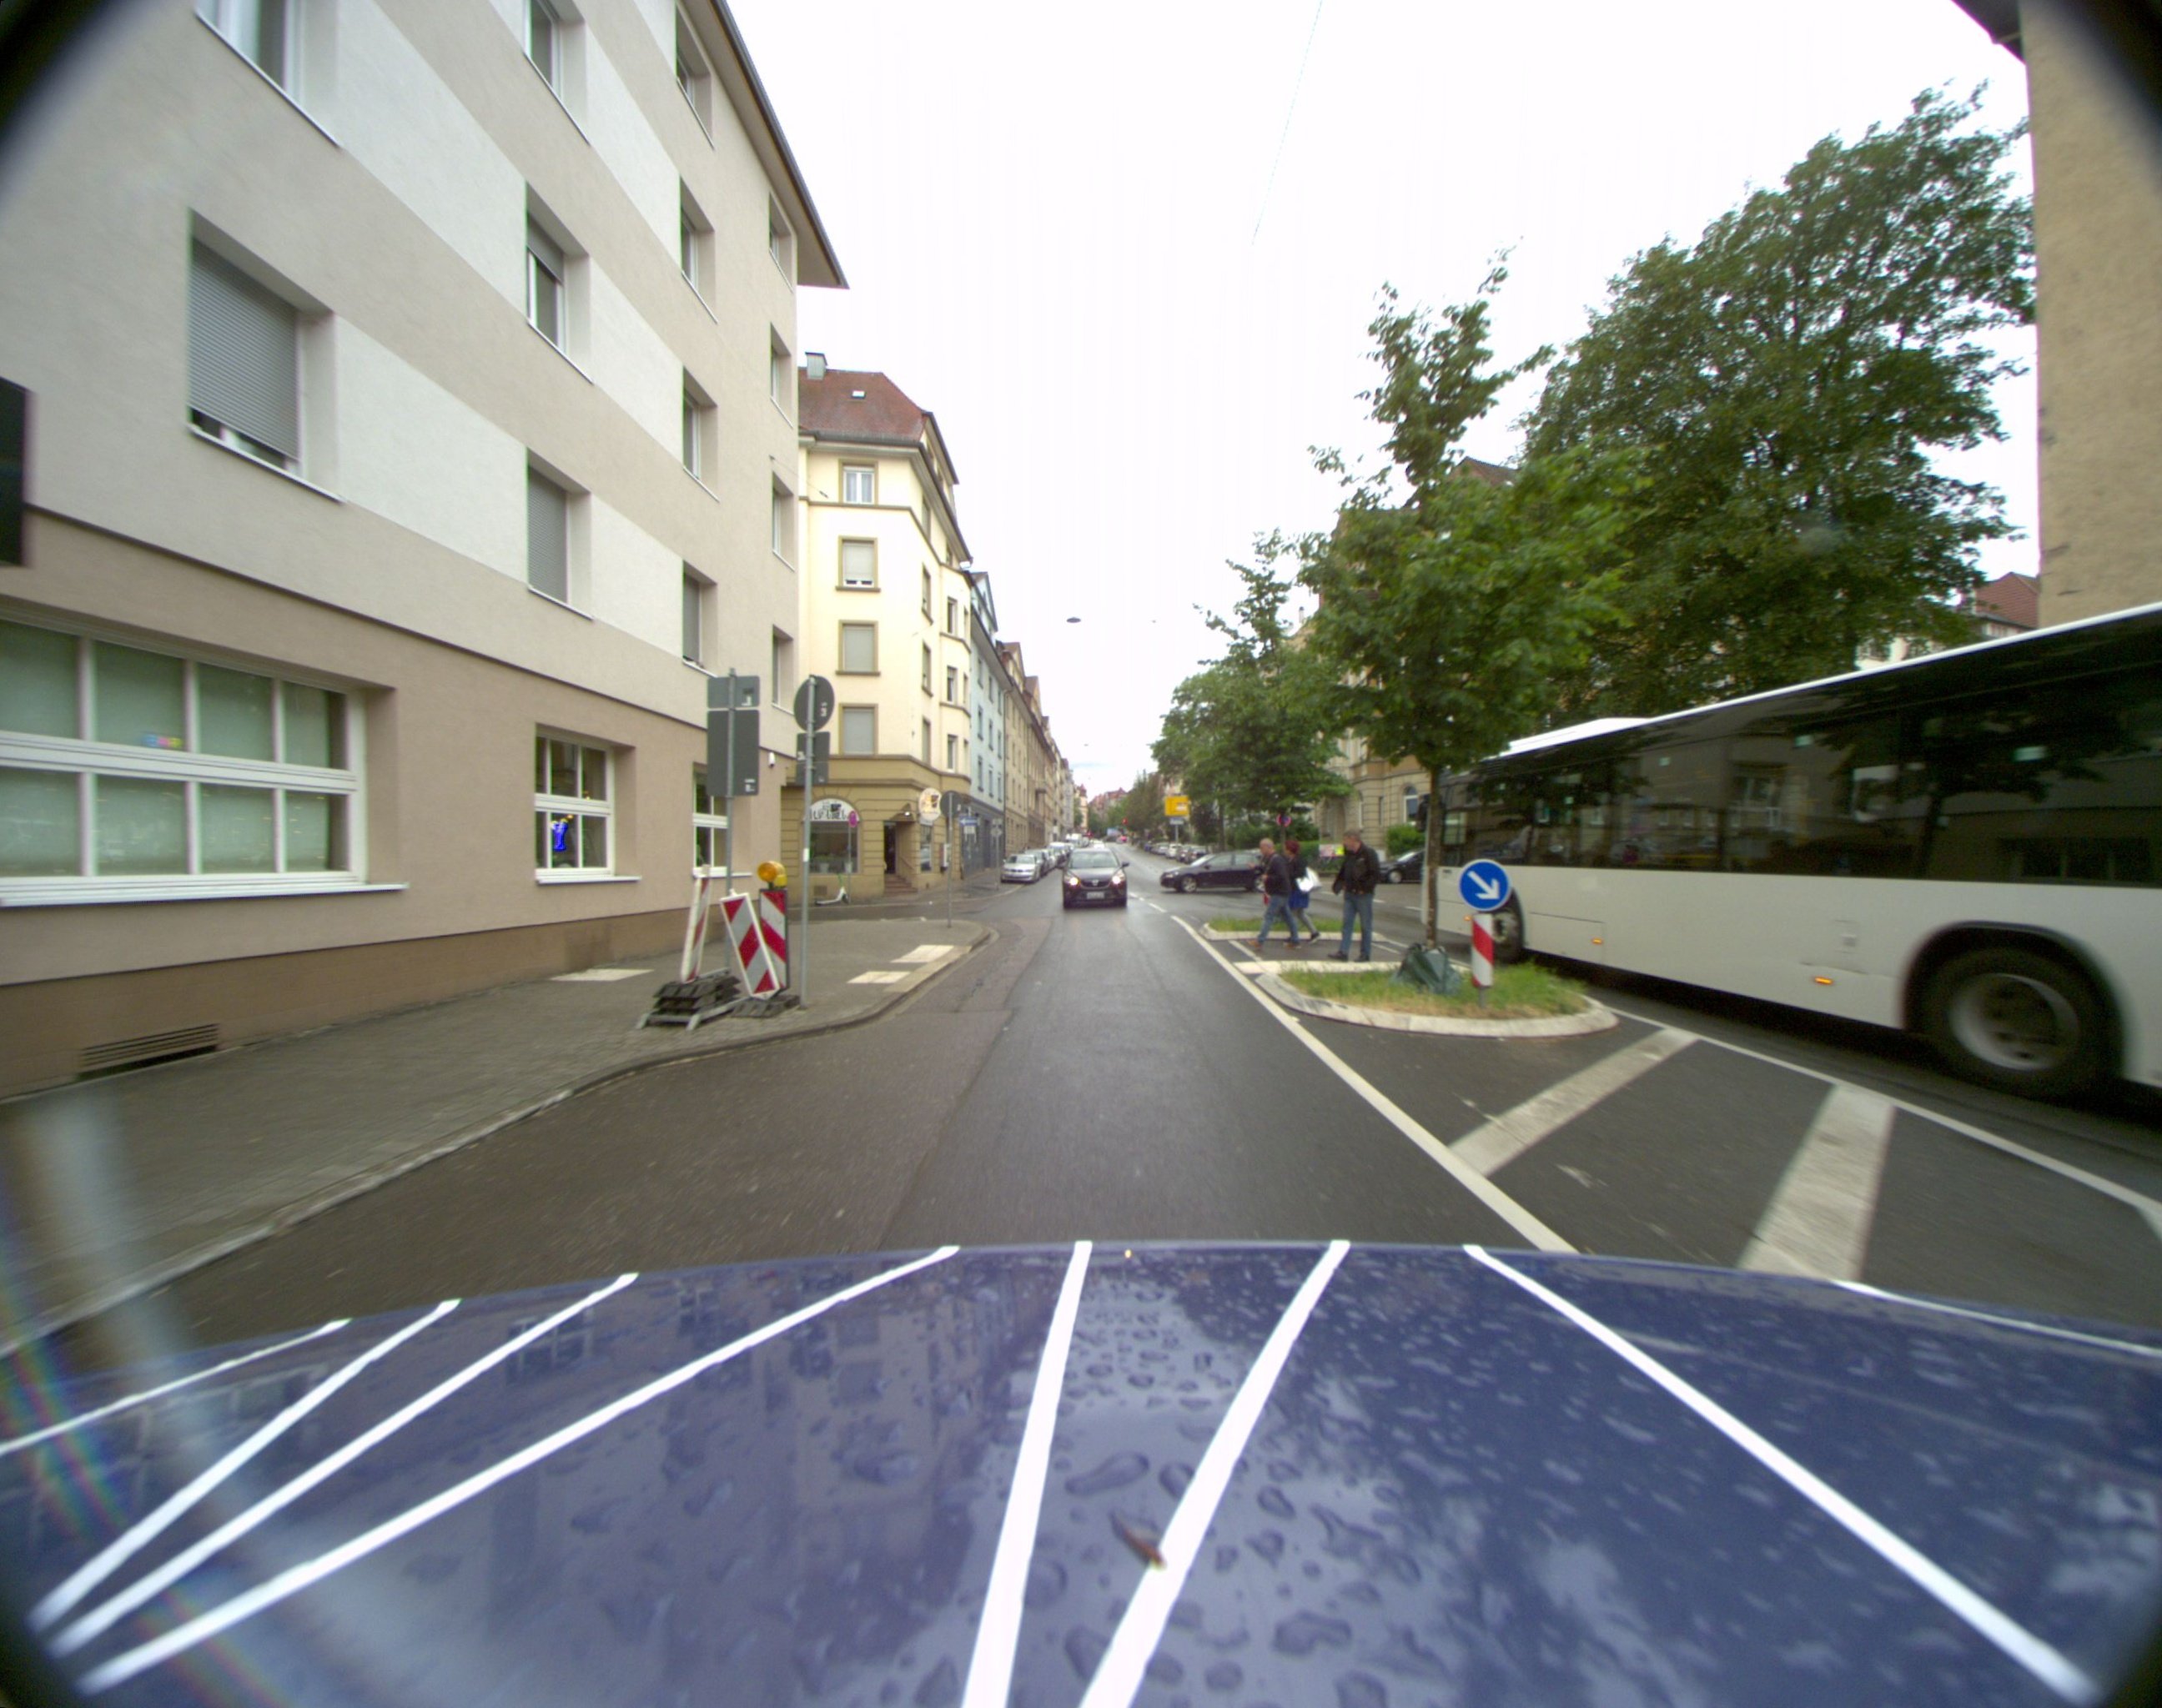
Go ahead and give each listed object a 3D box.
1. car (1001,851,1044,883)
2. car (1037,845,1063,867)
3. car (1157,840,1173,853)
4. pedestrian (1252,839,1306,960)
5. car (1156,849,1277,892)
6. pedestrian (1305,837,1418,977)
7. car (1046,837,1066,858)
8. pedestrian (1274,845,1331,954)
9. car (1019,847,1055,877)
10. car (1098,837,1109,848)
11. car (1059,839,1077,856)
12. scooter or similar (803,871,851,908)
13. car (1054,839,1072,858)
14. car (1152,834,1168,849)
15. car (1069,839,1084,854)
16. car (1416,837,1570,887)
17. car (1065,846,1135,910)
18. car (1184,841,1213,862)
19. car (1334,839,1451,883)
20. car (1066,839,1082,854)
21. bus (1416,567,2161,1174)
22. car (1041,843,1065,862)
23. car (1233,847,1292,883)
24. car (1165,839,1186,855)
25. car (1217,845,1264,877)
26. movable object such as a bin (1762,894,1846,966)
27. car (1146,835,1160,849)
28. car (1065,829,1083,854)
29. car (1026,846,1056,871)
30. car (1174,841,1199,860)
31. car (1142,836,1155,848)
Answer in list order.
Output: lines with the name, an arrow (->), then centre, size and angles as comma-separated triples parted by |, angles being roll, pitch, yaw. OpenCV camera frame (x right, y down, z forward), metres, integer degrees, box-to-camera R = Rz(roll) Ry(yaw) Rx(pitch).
car -> -2.920, 0.624, 38.898 | 1.856, 1.456, 4.204 | -2, 1, 0
car -> -2.239, 0.128, 55.444 | 1.733, 1.486, 3.550 | -2, 1, 0
car -> 10.144, -0.910, 91.916 | 1.558, 1.507, 3.393 | -3, 1, 1
pedestrian -> 2.927, 0.656, 11.294 | 0.611, 1.738, 0.698 | 1, 1, 2
car -> 4.854, 0.587, 27.581 | 3.998, 1.412, 1.811 | -1, 0, -2
pedestrian -> 3.655, 0.666, 9.966 | 1.064, 1.738, 0.853 | 1, 1, -10
car -> -2.330, -0.643, 72.377 | 1.733, 1.887, 3.550 | -2, 1, 0
pedestrian -> 3.491, 0.691, 11.986 | 0.791, 1.656, 0.699 | 1, 1, 16
car -> -2.536, 0.428, 44.420 | 1.817, 1.583, 3.893 | -2, 1, 0
car -> 3.643, -1.890, 123.919 | 1.796, 1.768, 3.902 | -1, 1, 0
car -> -1.571, -0.808, 90.333 | 1.998, 1.871, 3.999 | -1, 1, 0
scooter or similar -> -9.002, 1.236, 26.957 | 1.482, 1.144, 0.486 | -4, 7, -36
car -> -1.789, -0.630, 78.076 | 1.719, 1.871, 3.907 | -1, 1, 0
car -> 10.035, -1.580, 97.093 | 1.640, 1.871, 3.658 | -1, 1, 0
car -> -0.619, -1.049, 104.035 | 1.998, 1.871, 3.999 | -1, 1, 0
car -> 14.838, 0.279, 27.525 | 4.600, 1.637, 1.811 | -1, 0, -2
car -> 0.478, 0.639, 22.829 | 1.856, 1.646, 4.203 | -2, 1, -2
car -> 9.273, -0.232, 60.029 | 1.672, 1.507, 3.696 | -3, 1, 0
car -> 12.552, 0.261, 30.847 | 3.995, 1.674, 2.001 | -1, 1, 6
car -> -0.840, -0.974, 99.448 | 1.998, 1.871, 3.999 | -1, 1, 0
bus -> 7.171, 0.028, 7.117 | 2.812, 3.228, 11.959 | 0, 1, 0
car -> -2.234, -0.133, 61.559 | 1.733, 1.486, 3.550 | -2, 1, 0
car -> 8.612, 0.461, 36.350 | 1.813, 1.507, 3.675 | -3, 1, -1
car -> 9.428, -0.708, 75.803 | 1.672, 1.507, 3.393 | -3, 1, 0
car -> 8.501, 0.339, 40.777 | 1.672, 1.507, 3.392 | -3, 1, -1
movable object such as a bin -> 11.173, 1.167, 11.764 | 0.742, 1.052, 0.579 | -1, 2, 5
car -> 10.053, -1.706, 106.345 | 1.640, 1.871, 3.658 | -1, 1, 0
car -> -0.968, -1.875, 114.369 | 2.554, 3.613, 9.048 | -1, 1, 0
car -> -2.673, 0.270, 50.907 | 1.776, 1.583, 3.550 | -2, 1, 0
car -> 9.088, -0.296, 65.686 | 1.672, 1.507, 3.393 | -3, 1, 0
car -> 10.449, -1.881, 117.596 | 1.640, 1.871, 3.658 | -1, 1, 0
